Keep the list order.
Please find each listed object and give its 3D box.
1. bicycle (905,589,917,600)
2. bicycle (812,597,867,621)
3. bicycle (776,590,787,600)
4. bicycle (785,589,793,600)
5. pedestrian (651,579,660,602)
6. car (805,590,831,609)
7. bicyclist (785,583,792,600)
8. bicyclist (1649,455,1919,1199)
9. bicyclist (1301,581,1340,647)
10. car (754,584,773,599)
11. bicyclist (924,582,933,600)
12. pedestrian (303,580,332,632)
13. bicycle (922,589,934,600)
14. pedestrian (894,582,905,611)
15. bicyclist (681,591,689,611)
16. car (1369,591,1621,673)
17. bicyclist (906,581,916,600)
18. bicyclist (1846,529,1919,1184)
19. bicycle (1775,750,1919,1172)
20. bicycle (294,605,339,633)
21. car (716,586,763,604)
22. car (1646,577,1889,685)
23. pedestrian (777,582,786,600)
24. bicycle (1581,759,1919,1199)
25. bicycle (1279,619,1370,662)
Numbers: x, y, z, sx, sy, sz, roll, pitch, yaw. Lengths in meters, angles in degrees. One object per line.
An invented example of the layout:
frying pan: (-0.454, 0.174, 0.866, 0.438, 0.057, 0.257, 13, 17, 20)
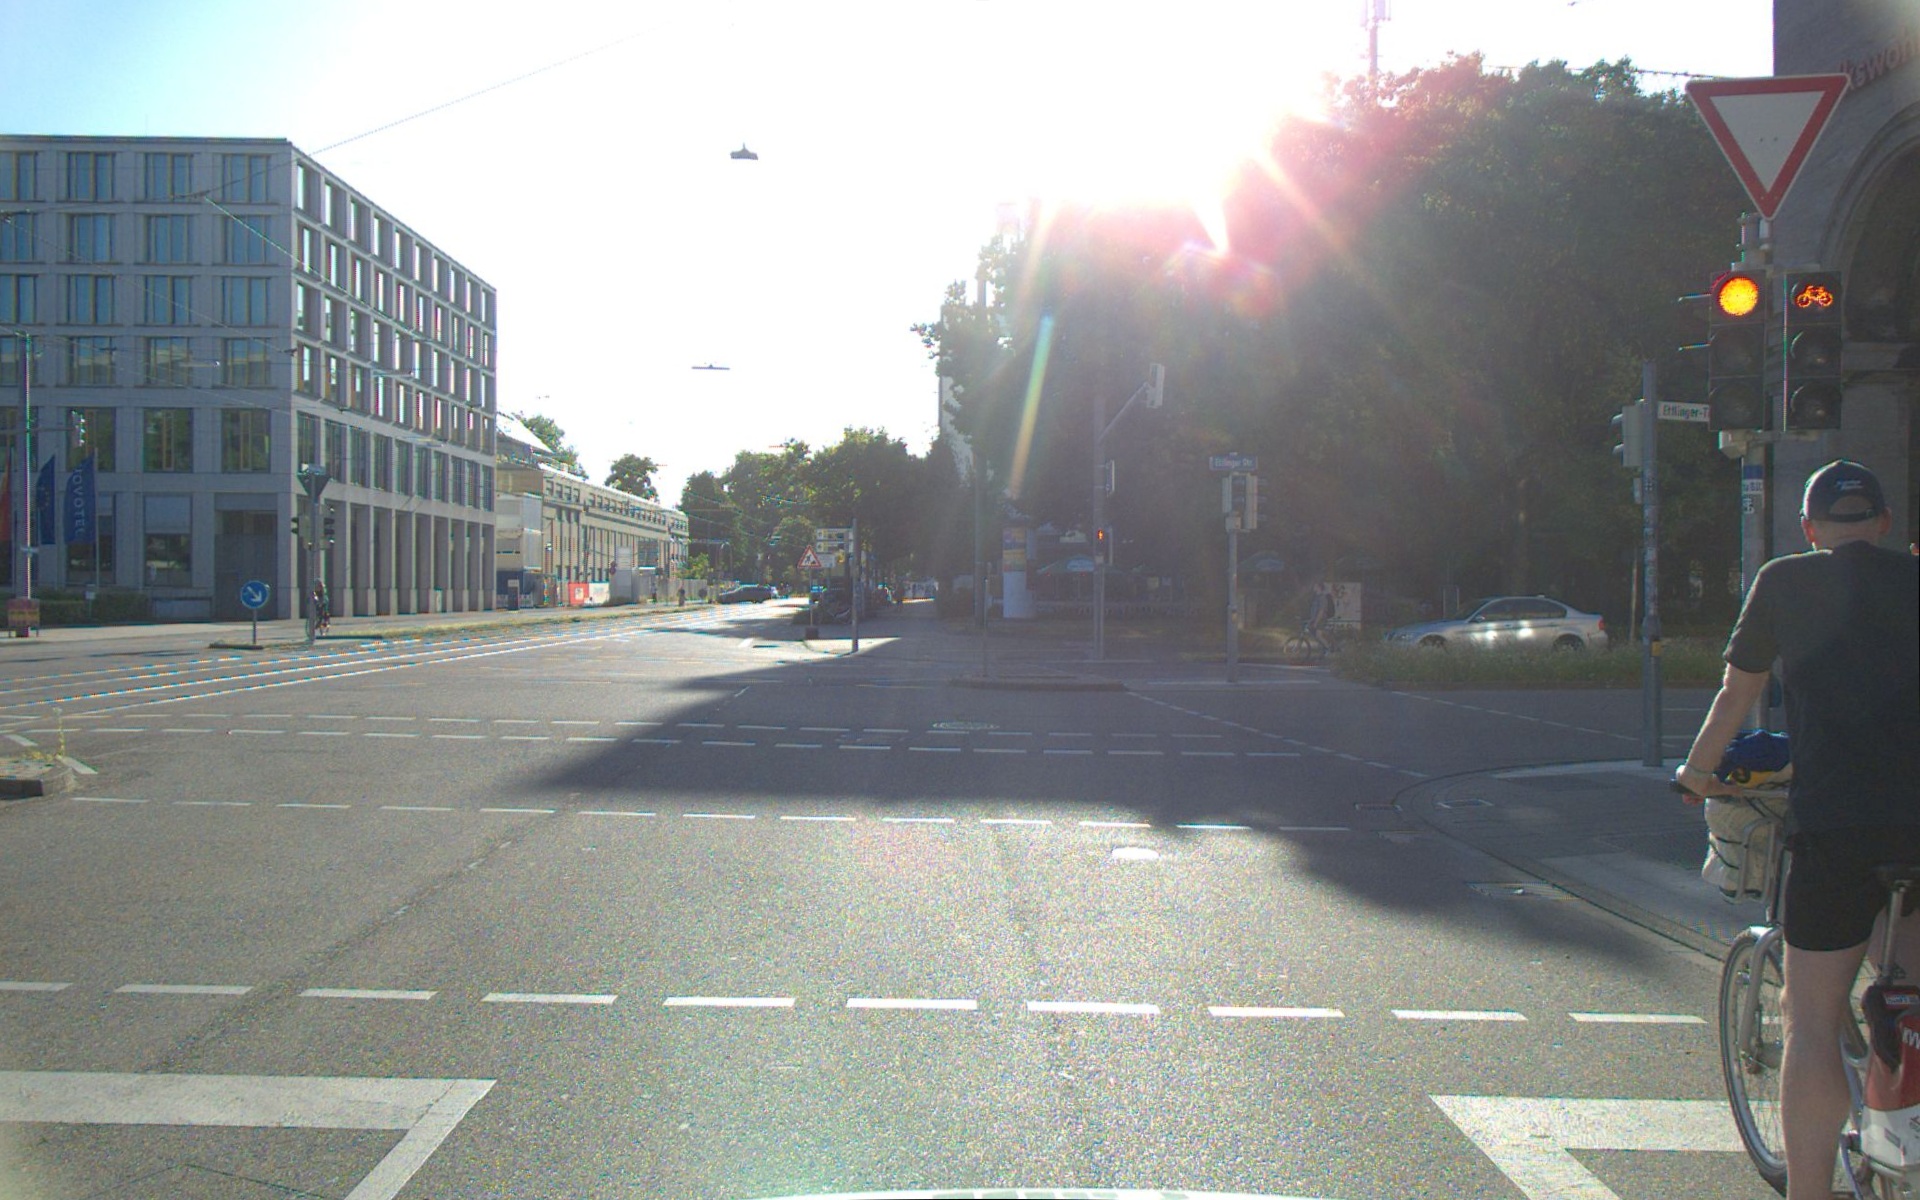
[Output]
bicycle: (-5.433, -0.624, 184.063, 0.875, 1.240, 2.785, 1, 0, -12)
bicycle: (-4.896, 0.376, 67.136, 2.201, 0.956, 0.653, 0, 0, -6)
bicycle: (-20.729, -0.573, 192.159, 0.735, 1.226, 3.109, 1, 0, 5)
bicycle: (-20.438, -0.631, 197.323, 0.735, 1.226, 3.107, 1, 0, -2)
pedestrian: (-25.118, -0.766, 136.537, 0.575, 1.922, 0.478, 1, -1, 9)
car: (-12.535, -0.022, 146.439, 1.953, 1.668, 3.999, 1, 0, -1)
bicyclist: (-20.448, -1.000, 197.198, 0.735, 1.953, 1.214, 1, 0, -2)
bicyclist: (2.133, 0.569, 3.900, 0.610, 1.745, 0.912, 0, 0, -2)
bicyclist: (7.950, 0.306, 36.491, 0.731, 1.431, 0.702, 1, -1, 6)
car: (-23.060, -1.006, 194.356, 1.954, 1.673, 3.997, 0, 0, -4)
bicyclist: (-3.552, -0.992, 185.021, 0.875, 2.049, 0.746, 1, -1, -12)
pedestrian: (-20.161, 0.186, 51.912, 0.559, 1.623, 0.745, 0, 0, 7)
bicycle: (-3.558, -0.588, 184.952, 0.875, 1.240, 2.785, 1, 0, -12)
pedestrian: (-3.573, -0.222, 97.573, 0.566, 1.719, 0.584, 0, 0, -8)
bicyclist: (-20.659, 0.079, 124.381, 0.484, 1.525, 0.666, 0, 0, 2)
car: (10.844, 0.631, 33.724, 4.483, 1.543, 2.000, 1, 0, -1)
bicyclist: (-5.460, -1.028, 184.159, 0.875, 2.049, 0.746, 1, -1, -12)
bicyclist: (2.876, 0.692, 4.352, 0.572, 1.769, 0.950, 0, 0, 0)
bicycle: (2.876, 1.013, 4.388, 0.570, 1.062, 1.747, 0, 0, 0)
bicycle: (-20.163, 0.583, 51.869, 0.559, 0.837, 1.720, 0, 0, 8)
car: (-20.678, -0.439, 154.883, 3.942, 1.627, 1.981, -1, 1, -29)
car: (16.223, 0.611, 33.378, 3.905, 2.049, 2.000, 1, 0, 0)
pedestrian: (-20.736, -1.041, 192.044, 0.735, 2.099, 1.050, 1, -1, 5)
bicycle: (2.130, 0.997, 3.912, 0.610, 1.062, 1.746, 0, 0, -2)
bicycle: (8.029, 0.881, 36.484, 1.902, 0.905, 0.718, 1, 0, 5)
